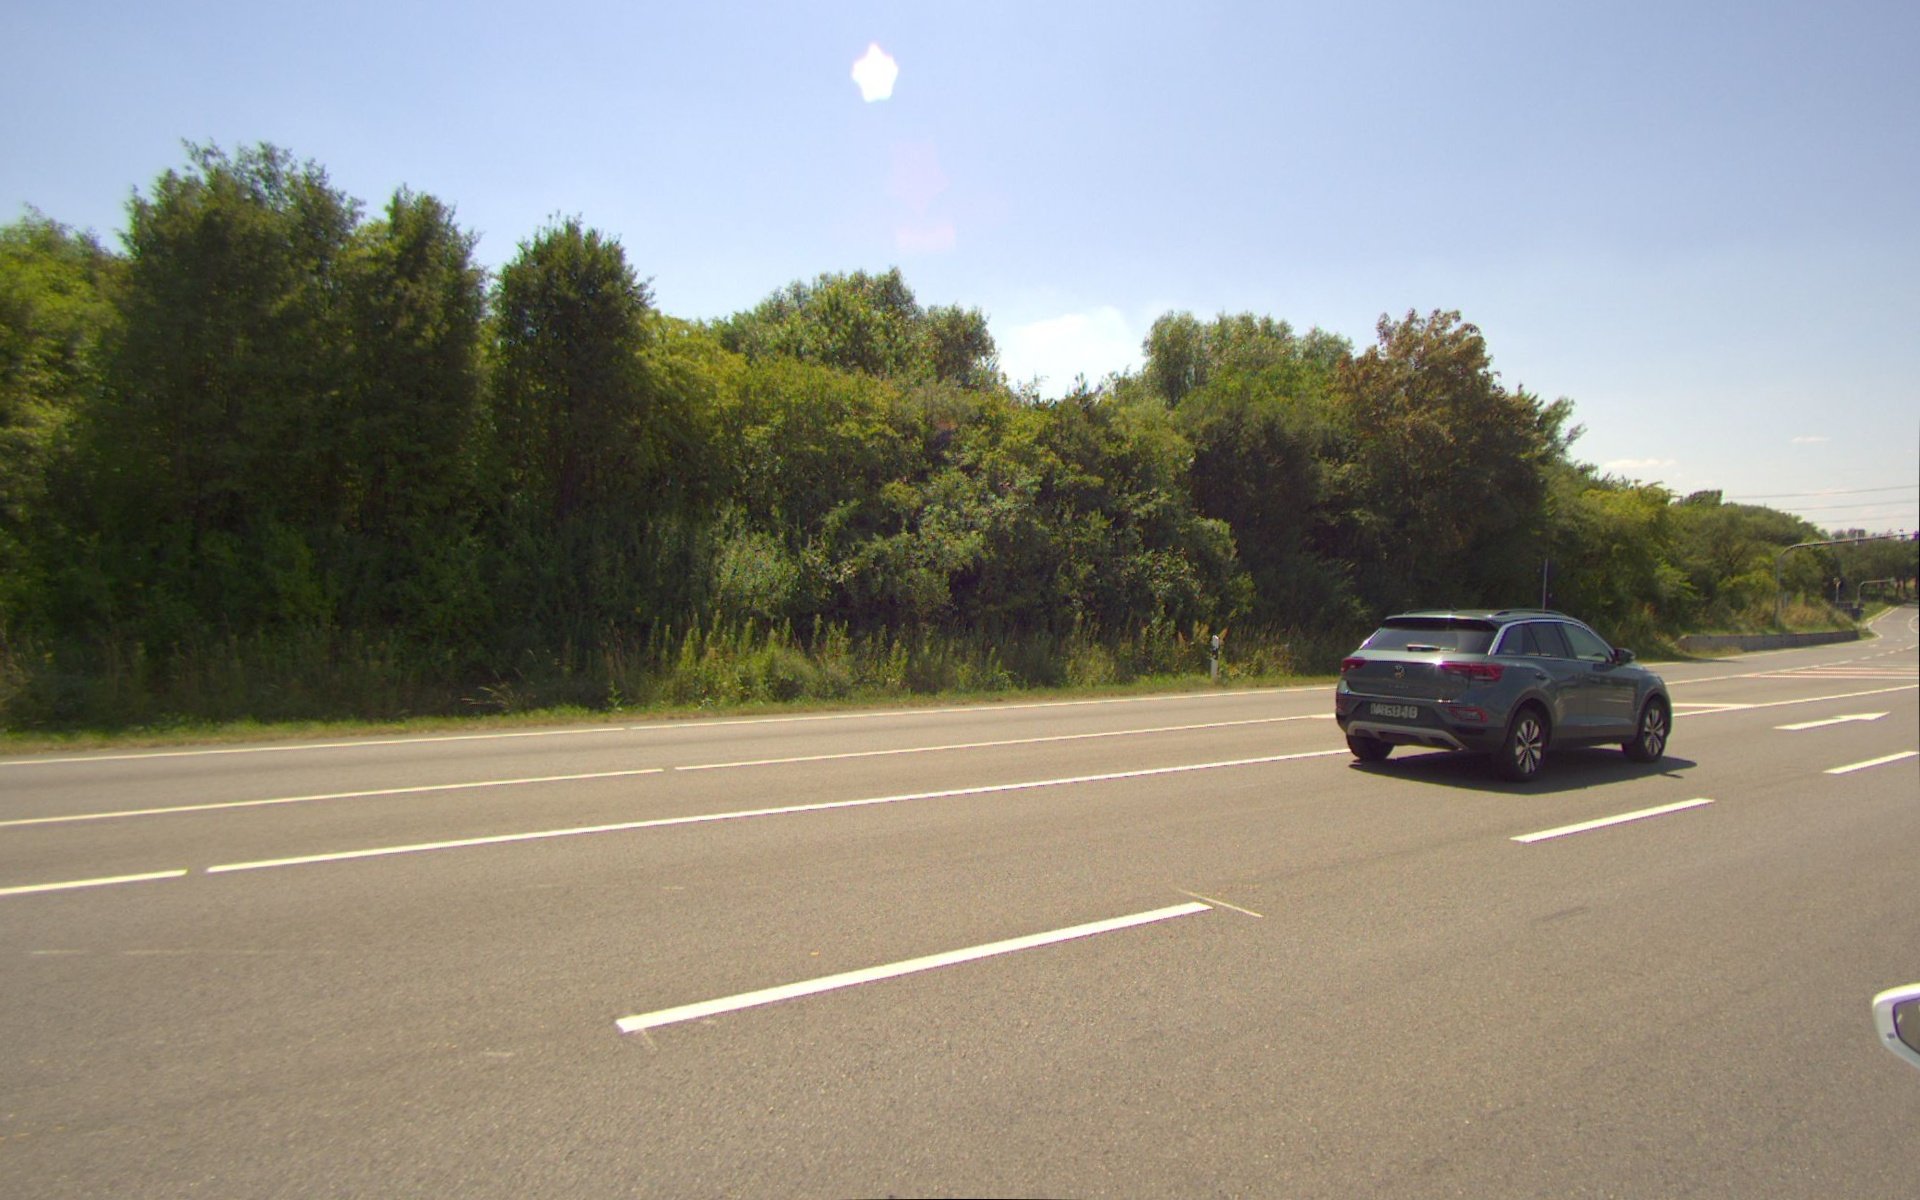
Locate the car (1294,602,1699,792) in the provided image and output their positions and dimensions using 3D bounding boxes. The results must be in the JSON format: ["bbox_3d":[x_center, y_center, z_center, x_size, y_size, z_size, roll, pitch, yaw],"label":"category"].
[{"bbox_3d":[5.668,0.859,10.463,4.342,1.607,1.824,1,0,-32],"label":"car"}]
